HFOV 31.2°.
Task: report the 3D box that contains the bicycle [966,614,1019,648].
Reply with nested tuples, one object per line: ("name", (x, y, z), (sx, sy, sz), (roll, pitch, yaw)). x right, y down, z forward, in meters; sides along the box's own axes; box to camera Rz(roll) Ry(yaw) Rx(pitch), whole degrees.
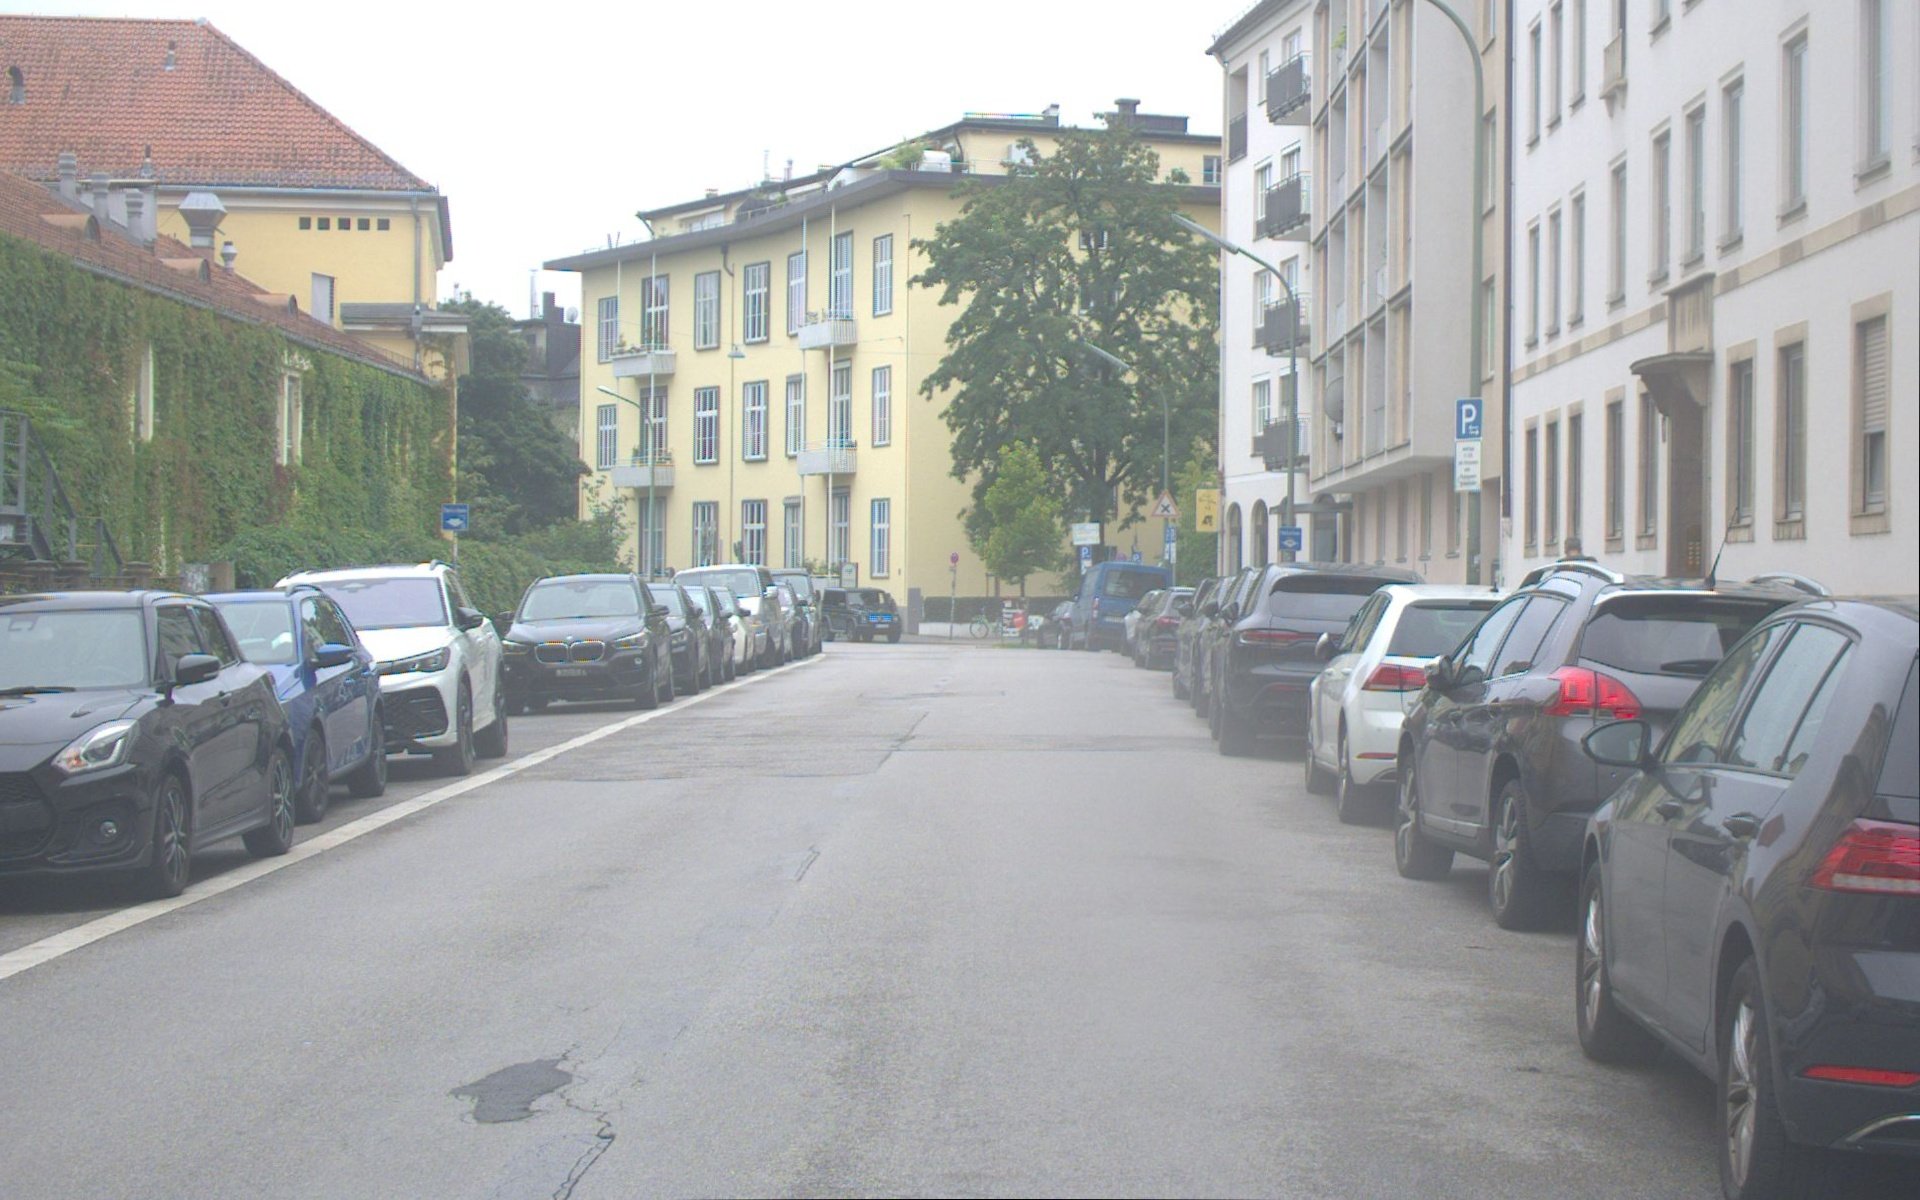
("bicycle", (1.181, 1.135, 125.127), (1.926, 1.197, 0.594), (1, 0, 38))

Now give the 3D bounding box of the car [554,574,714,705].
("car", (-4.312, 0.512, 45.993), (1.724, 1.624, 4.466), (-1, 0, -1))

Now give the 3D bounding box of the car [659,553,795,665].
("car", (-4.146, 0.169, 61.779), (1.887, 1.883, 4.773), (-2, 0, 2))

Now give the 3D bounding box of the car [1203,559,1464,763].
("car", (3.079, 0.483, 29.208), (1.840, 1.517, 4.708), (2, 0, 2))

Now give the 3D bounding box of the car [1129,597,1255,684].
("car", (4.041, 0.681, 60.546), (1.745, 1.383, 4.954), (3, 0, -1))

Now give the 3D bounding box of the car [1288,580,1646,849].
("car", (3.129, 0.642, 22.020), (1.672, 1.424, 4.530), (3, 1, 1))

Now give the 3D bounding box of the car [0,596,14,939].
("car", (-4.953, 0.727, 12.208), (1.785, 1.427, 4.652), (-2, 0, 1))

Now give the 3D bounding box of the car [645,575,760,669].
("car", (-4.188, 0.348, 56.322), (1.591, 1.436, 4.019), (-2, 0, -1))

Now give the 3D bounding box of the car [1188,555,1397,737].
("car", (3.236, 0.430, 34.204), (1.645, 1.584, 4.634), (4, 0, 1))

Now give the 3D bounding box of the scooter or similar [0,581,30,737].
("scooter or similar", (-8.710, 0.518, 30.323), (0.560, 1.364, 1.501), (0, 0, 1))

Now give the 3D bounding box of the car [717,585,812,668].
("car", (-4.062, 0.546, 72.082), (1.697, 1.637, 4.490), (-2, 0, 0))

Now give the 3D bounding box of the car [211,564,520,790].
("car", (-4.647, 0.559, 27.513), (1.745, 1.628, 4.856), (0, 0, -2))

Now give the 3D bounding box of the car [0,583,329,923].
("car", (-4.499, 0.711, 17.431), (1.699, 1.492, 4.148), (-3, 0, 1))

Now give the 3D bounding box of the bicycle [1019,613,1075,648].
("bicycle", (3.127, 1.101, 123.877), (1.923, 1.197, 0.595), (1, 0, 15))

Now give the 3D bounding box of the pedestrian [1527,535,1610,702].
("pedestrian", (6.511, 0.204, 36.812), (0.723, 1.757, 0.904), (1, -1, 2))

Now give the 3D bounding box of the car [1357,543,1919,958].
("car", (3.032, 0.580, 15.824), (1.706, 1.587, 4.362), (2, 0, -2))

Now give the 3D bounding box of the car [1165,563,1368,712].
("car", (3.436, 0.401, 39.455), (1.802, 1.479, 5.319), (4, 0, 0))

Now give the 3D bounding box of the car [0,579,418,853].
("car", (-4.797, 0.688, 22.548), (1.703, 1.497, 4.495), (-4, 0, 0))

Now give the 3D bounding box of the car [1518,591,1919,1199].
("car", (2.618, 0.730, 9.167), (1.688, 1.397, 4.363), (2, 1, 2))

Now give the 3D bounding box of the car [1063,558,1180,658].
("car", (4.075, 0.244, 87.552), (2.078, 2.226, 5.245), (5, -2, -5))

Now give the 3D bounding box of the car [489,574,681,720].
("car", (-4.415, 0.530, 41.137), (1.789, 1.581, 4.818), (-2, 0, -1))

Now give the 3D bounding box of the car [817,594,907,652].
("car", (-3.567, 0.828, 124.291), (1.762, 1.868, 4.380), (5, -1, -21))

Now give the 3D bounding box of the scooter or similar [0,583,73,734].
("scooter or similar", (-8.715, 0.523, 31.875), (0.560, 1.364, 1.501), (0, 0, 1))

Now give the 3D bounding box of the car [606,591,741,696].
("car", (-4.218, 0.628, 51.066), (1.603, 1.426, 4.251), (-2, 0, 0))
